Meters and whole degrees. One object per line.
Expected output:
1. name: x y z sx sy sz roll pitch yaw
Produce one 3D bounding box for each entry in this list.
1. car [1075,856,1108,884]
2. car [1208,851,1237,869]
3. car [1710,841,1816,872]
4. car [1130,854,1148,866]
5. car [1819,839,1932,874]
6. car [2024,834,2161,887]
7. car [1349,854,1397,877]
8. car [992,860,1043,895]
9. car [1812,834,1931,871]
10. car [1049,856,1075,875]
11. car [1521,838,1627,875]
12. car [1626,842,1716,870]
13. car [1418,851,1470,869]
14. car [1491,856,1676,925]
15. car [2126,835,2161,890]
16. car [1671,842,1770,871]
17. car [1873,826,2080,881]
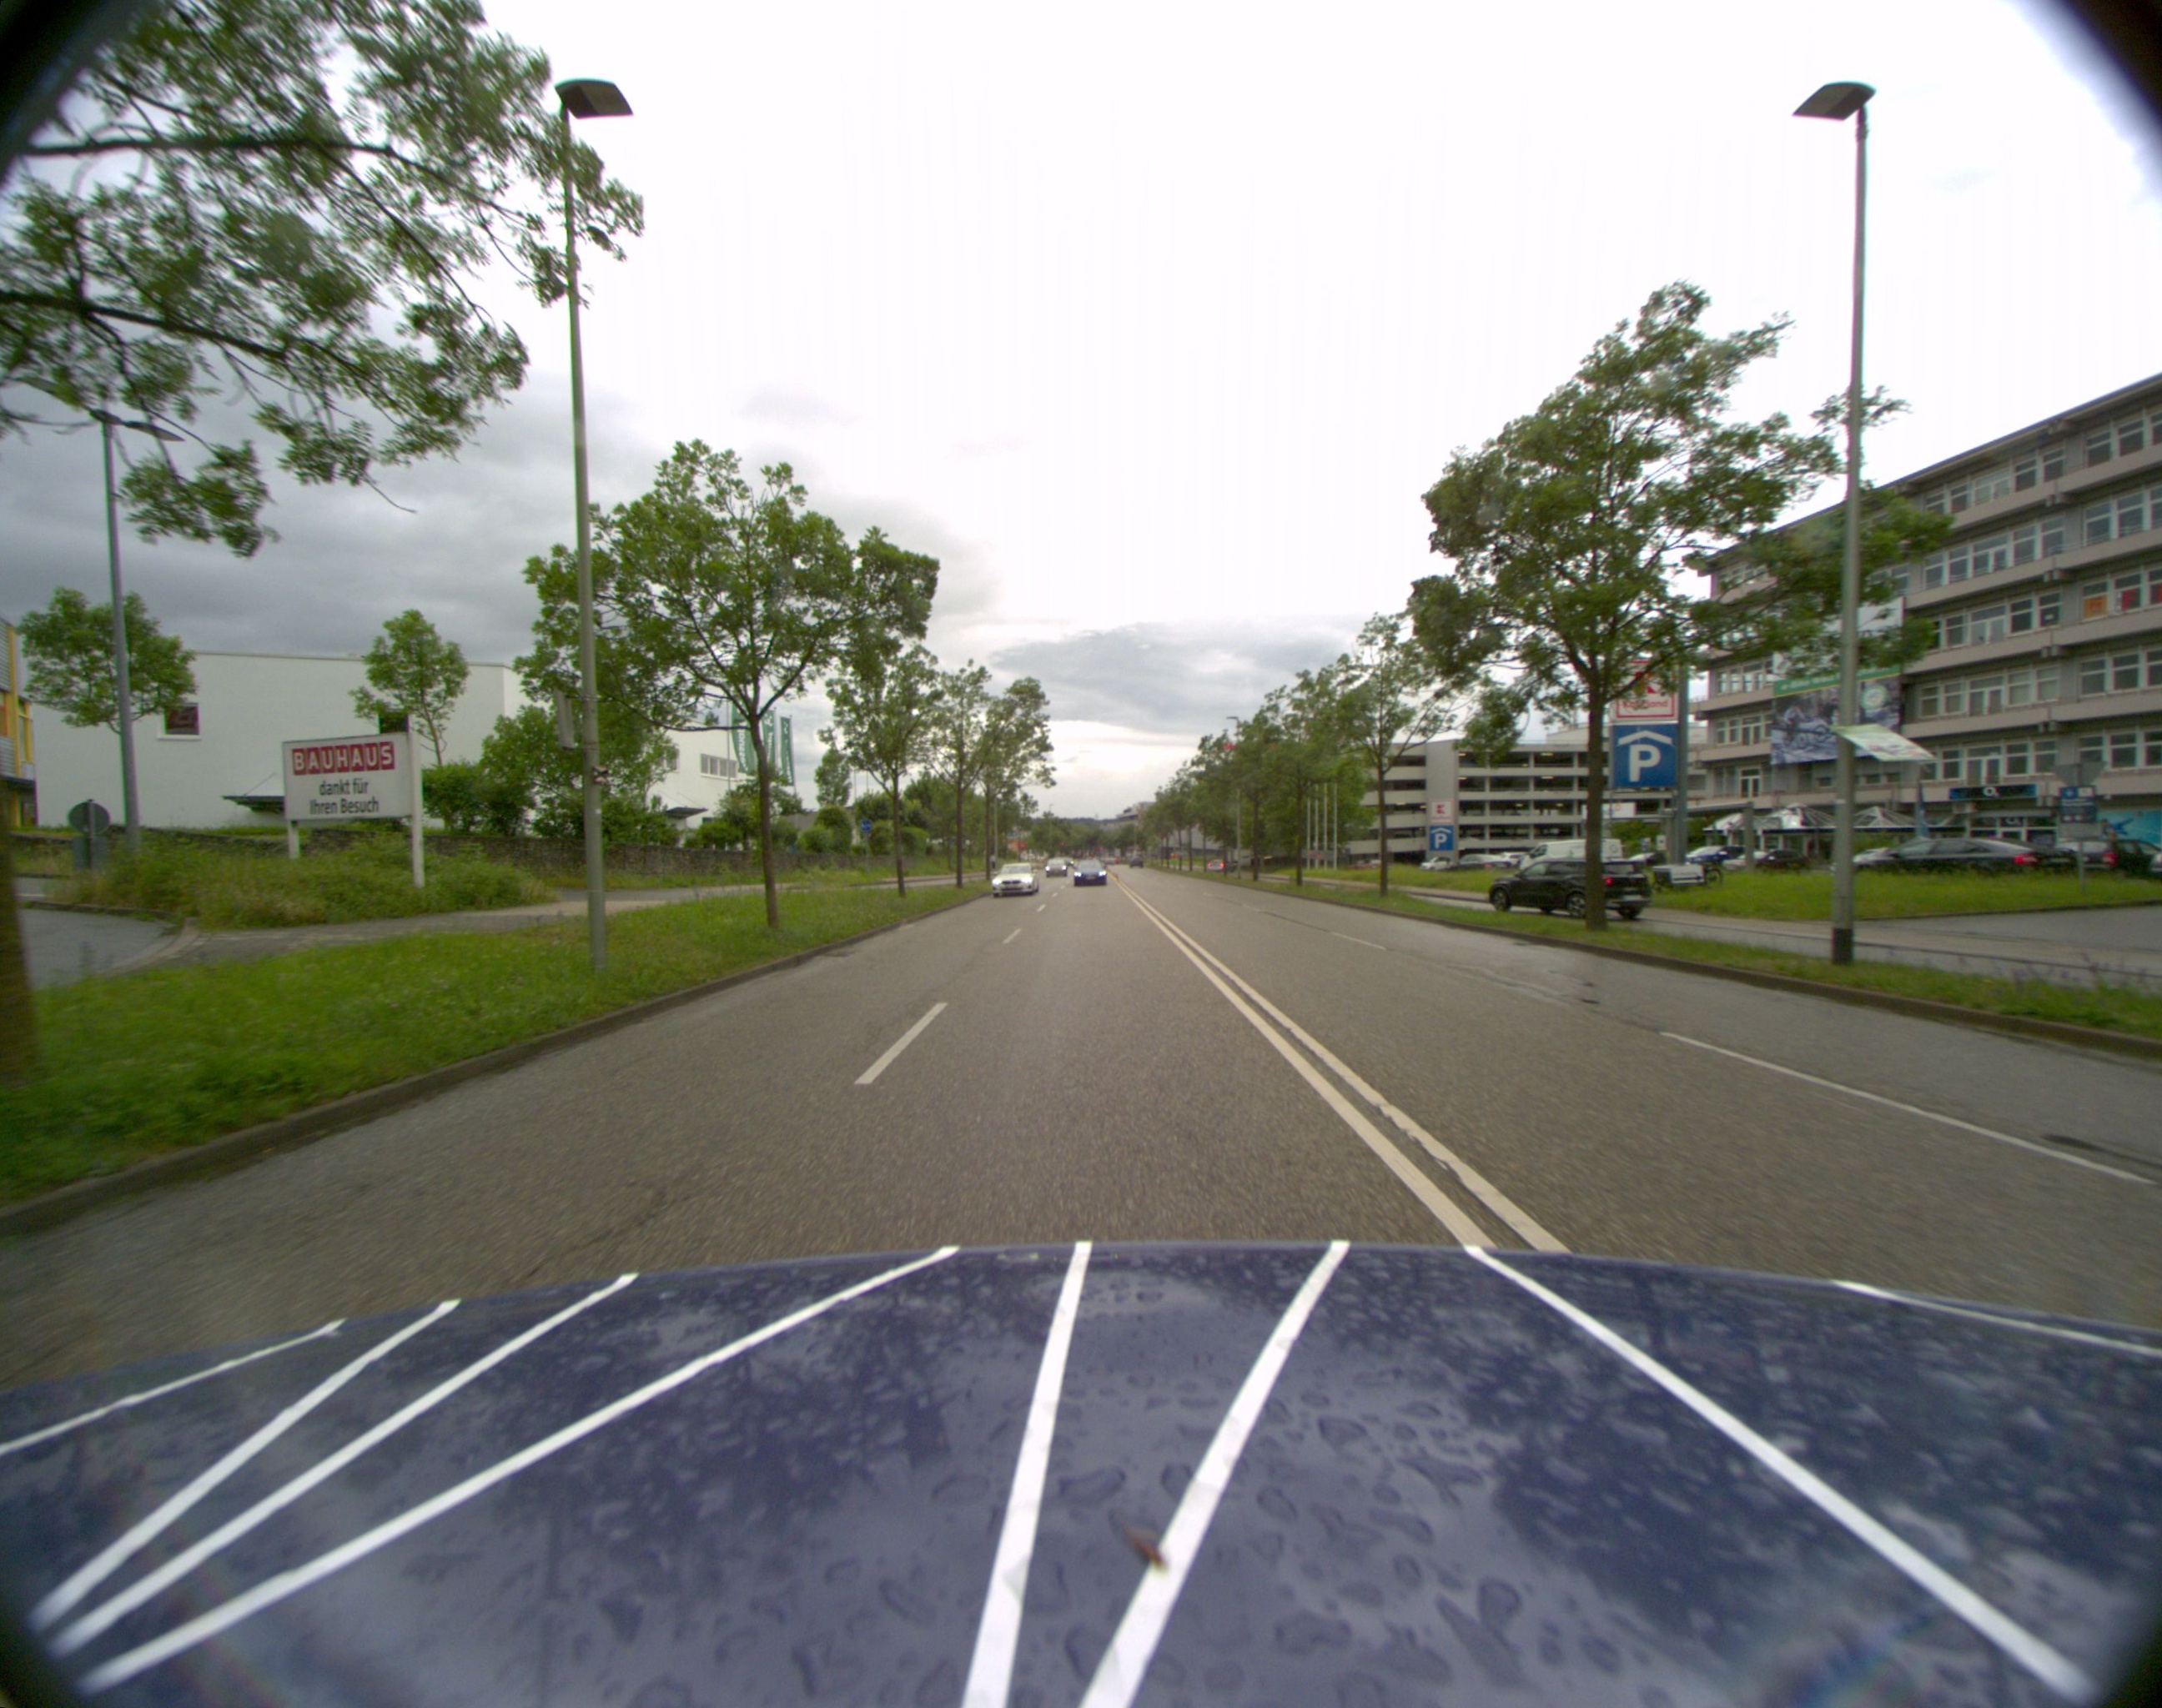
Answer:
1. car: 0.587 0.906 44.866 1.827 1.473 4.840 -2 0 0
2. car: 15.052 0.627 80.636 1.846 1.839 4.008 0 0 29
3. car: 36.720 0.136 40.996 4.060 1.608 1.834 -1 0 0
4. car: 8.292 0.816 109.113 2.114 1.610 4.840 1 0 0
5. car: 37.651 0.101 36.063 4.000 1.590 1.681 -1 0 -7
6. car: 33.782 0.194 24.564 4.437 1.608 1.834 -1 0 -2
7. car: 21.507 0.789 56.032 1.833 1.608 4.062 -1 0 -2
8. car: -2.907 1.068 35.528 1.864 1.473 4.000 -2 0 2
9. car: 32.968 -0.051 31.819 1.439 1.413 3.497 -1 0 3
10. car: -1.655 1.007 67.744 2.114 1.610 4.840 -2 0 0
11. car: 23.456 0.110 36.348 1.834 1.608 4.436 -1 0 -7
12. car: 35.743 0.126 46.111 4.060 1.608 1.834 -1 0 0
13. car: 34.405 0.565 72.032 4.061 1.608 1.834 -1 0 -3
14. car: 13.537 0.923 20.778 1.835 1.608 3.995 -2 0 -14
15. car: 33.797 0.219 22.108 4.437 1.608 1.834 -1 0 -2
16. car: 36.324 0.129 43.238 4.060 1.608 1.834 -1 0 0
17. car: 23.877 -0.031 20.462 1.509 1.276 3.449 -2 1 0
